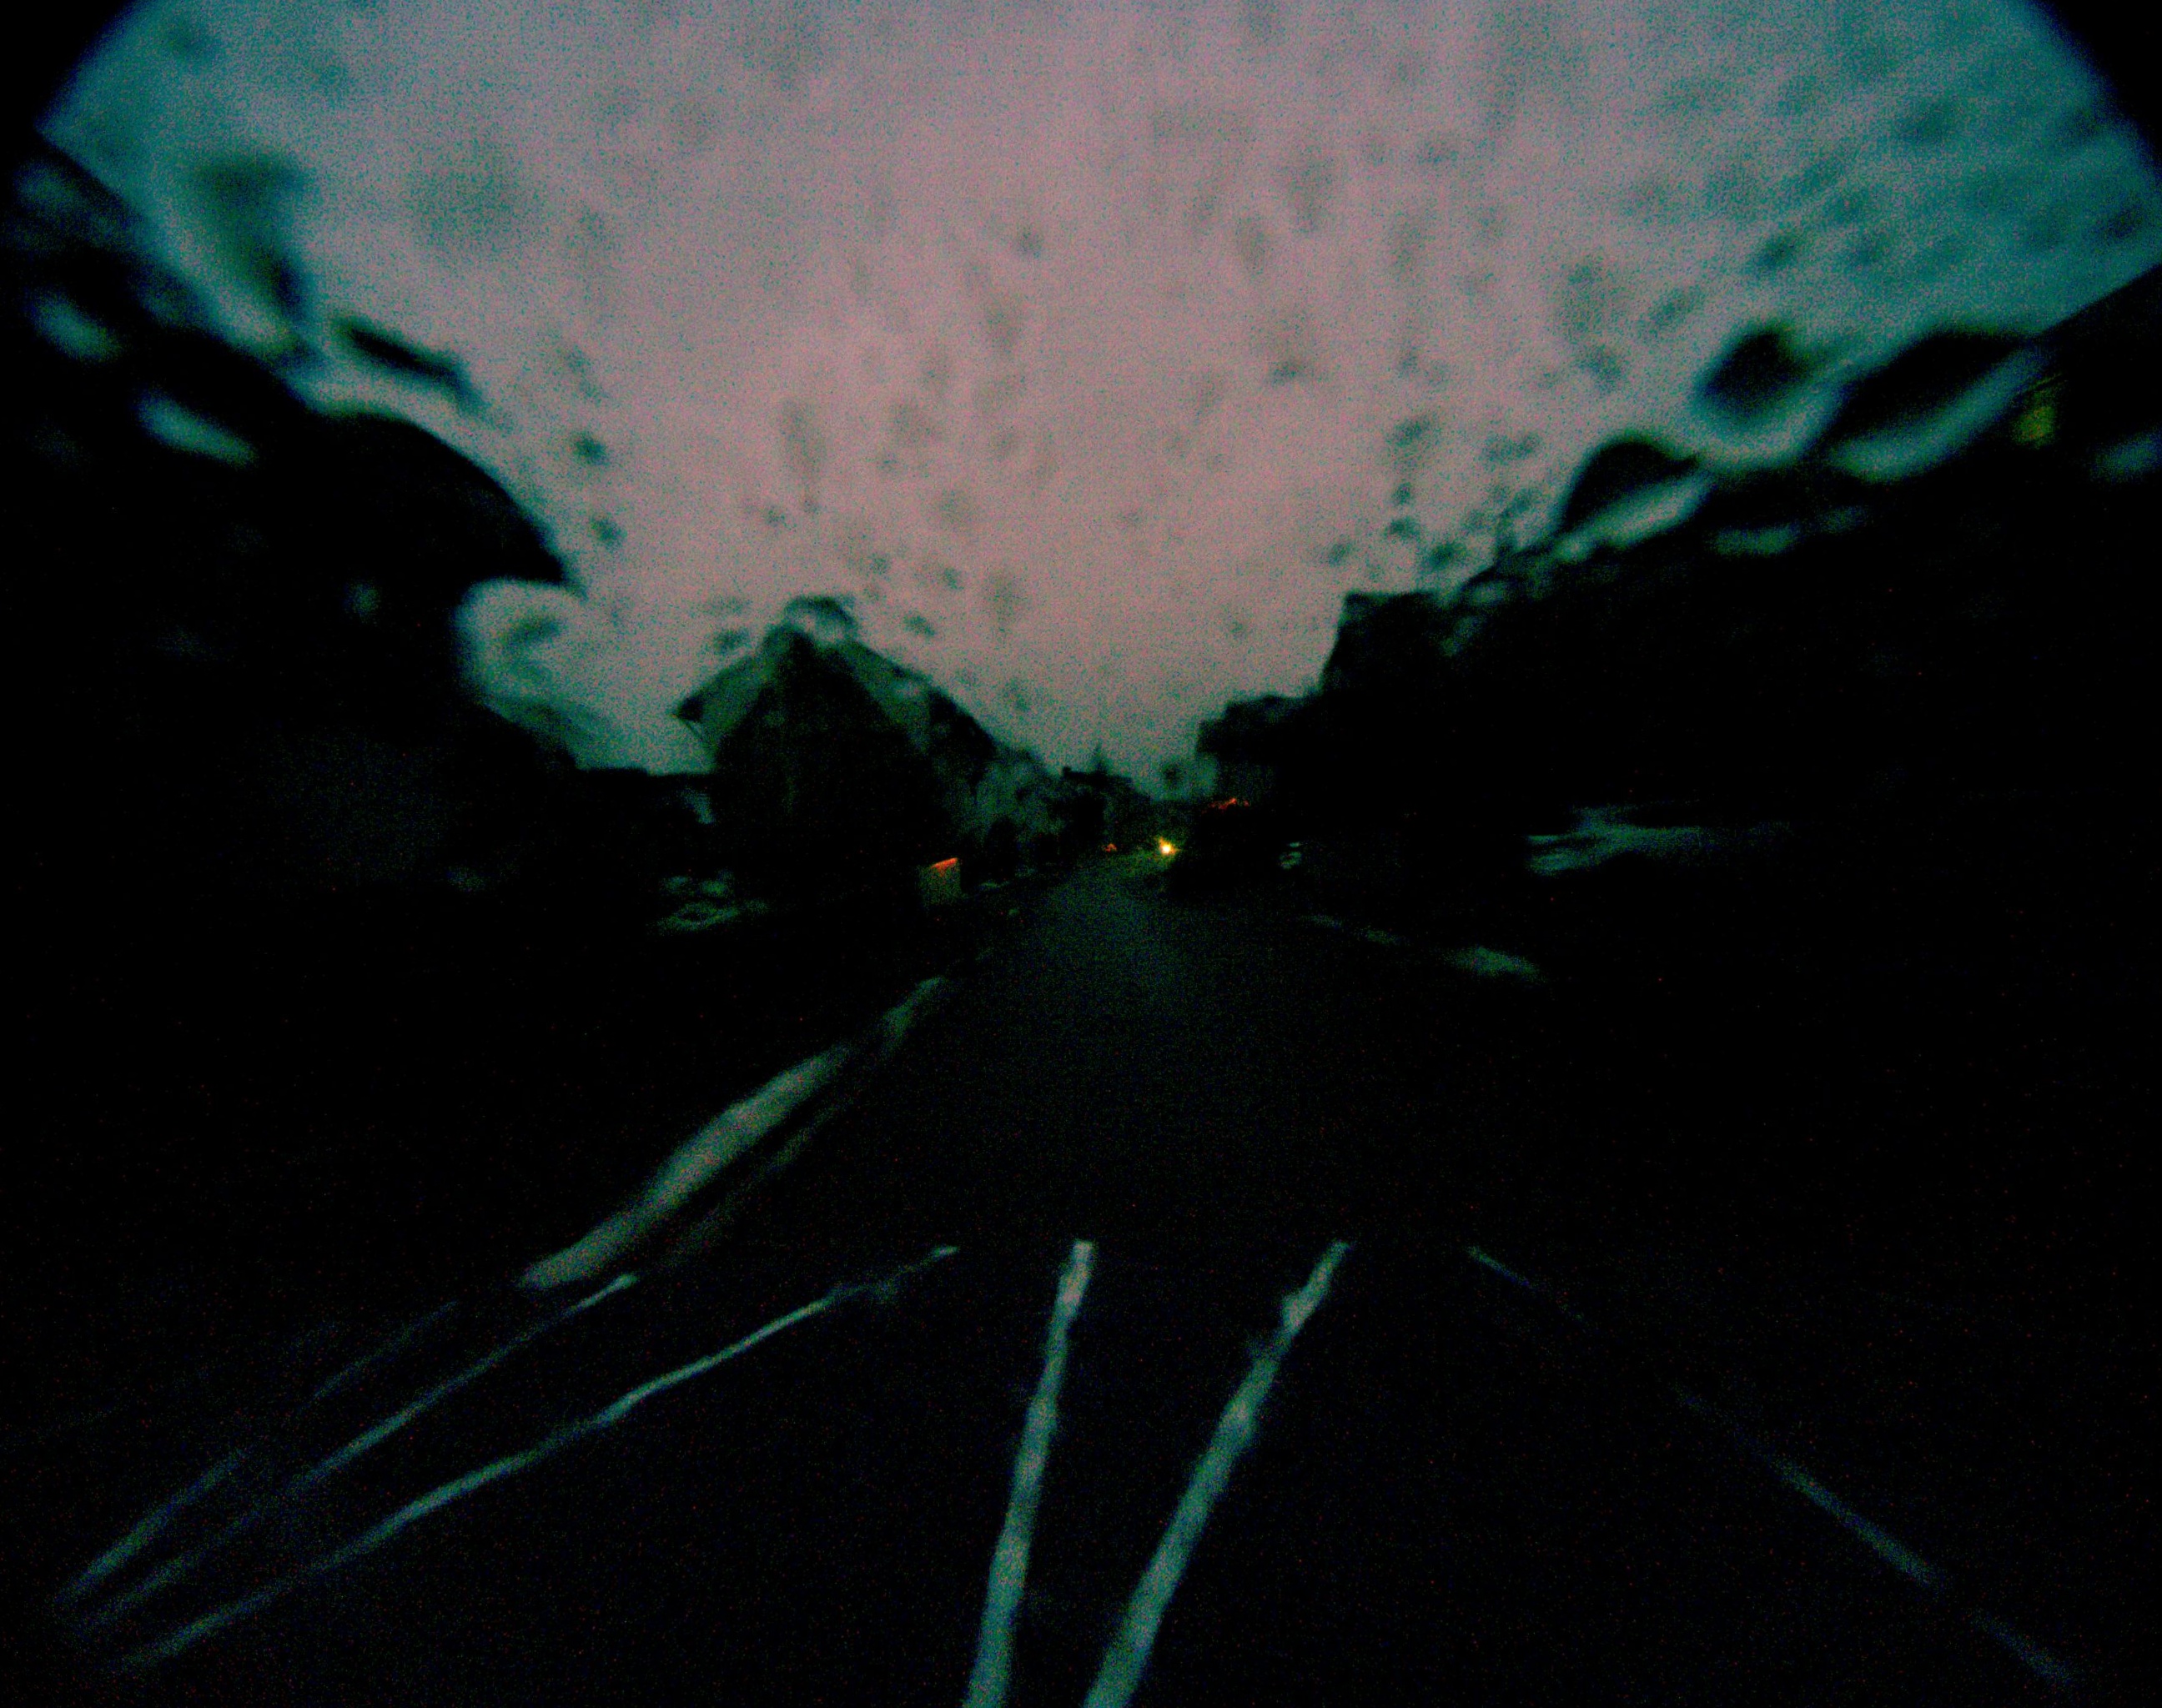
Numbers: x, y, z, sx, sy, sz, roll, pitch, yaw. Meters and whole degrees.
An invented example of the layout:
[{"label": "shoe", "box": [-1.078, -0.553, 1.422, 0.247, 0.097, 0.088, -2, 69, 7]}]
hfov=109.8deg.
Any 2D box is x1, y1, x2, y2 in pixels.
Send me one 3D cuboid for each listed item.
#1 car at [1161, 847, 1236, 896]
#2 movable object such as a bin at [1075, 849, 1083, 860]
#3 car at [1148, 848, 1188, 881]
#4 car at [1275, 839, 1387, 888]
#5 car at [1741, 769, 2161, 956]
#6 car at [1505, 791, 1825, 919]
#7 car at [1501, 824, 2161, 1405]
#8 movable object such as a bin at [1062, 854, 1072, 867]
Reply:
[{"label": "car", "box": [3.990, 0.527, 26.517, 1.882, 1.386, 5.074, -2, 2, 1]}, {"label": "movable object such as a bin", "box": [-0.190, 0.017, 68.407, 0.538, 0.933, 0.690, -3, 2, 11]}, {"label": "car", "box": [4.313, 0.481, 38.195, 1.622, 1.430, 3.655, -2, 2, 1]}, {"label": "car", "box": [9.019, 0.328, 27.616, 3.471, 1.519, 1.774, -3, 1, 5]}, {"label": "car", "box": [9.708, 0.022, 7.816, 3.995, 1.609, 1.889, -3, 1, 8]}, {"label": "car", "box": [10.131, -0.012, 13.481, 3.996, 1.737, 2.000, -5, 2, 4]}, {"label": "car", "box": [3.847, 0.682, 3.383, 1.688, 1.575, 4.174, -2, 2, 1]}, {"label": "movable object such as a bin", "box": [-1.034, 0.462, 56.238, 0.638, 0.912, 0.686, -3, 2, 6]}]
